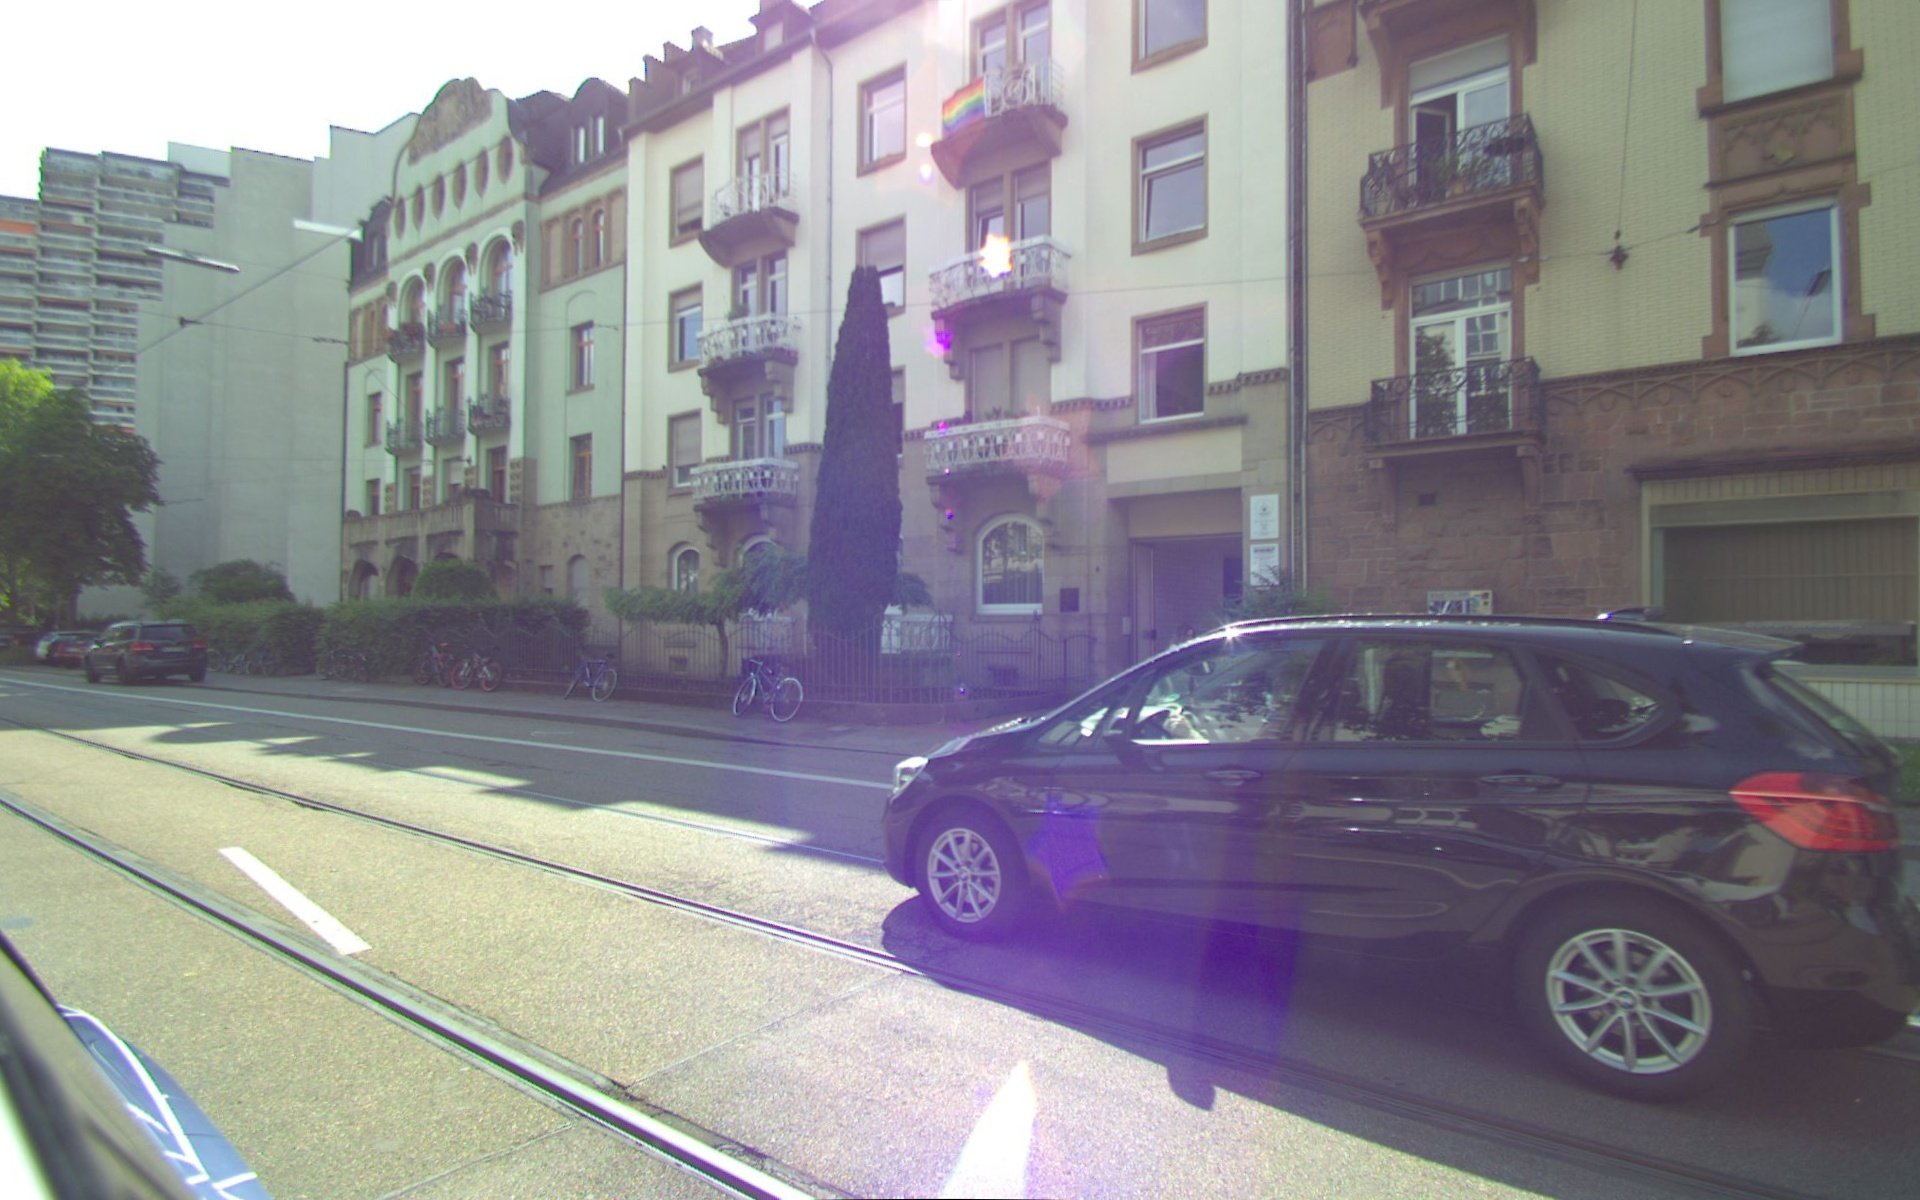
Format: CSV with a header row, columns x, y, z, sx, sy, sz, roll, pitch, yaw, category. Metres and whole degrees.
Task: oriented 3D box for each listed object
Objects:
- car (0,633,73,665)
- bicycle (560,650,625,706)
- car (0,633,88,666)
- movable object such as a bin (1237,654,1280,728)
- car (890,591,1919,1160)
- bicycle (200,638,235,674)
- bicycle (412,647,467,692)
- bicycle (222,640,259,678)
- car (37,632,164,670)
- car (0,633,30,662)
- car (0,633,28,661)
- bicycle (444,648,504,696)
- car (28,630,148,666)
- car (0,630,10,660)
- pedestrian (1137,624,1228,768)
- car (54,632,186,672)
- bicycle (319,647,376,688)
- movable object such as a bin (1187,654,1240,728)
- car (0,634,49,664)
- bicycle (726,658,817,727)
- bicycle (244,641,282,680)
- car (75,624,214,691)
x,y,z,sx,sy,sz,roll,pitch,yaw,category
-46.441,2.394,49.970,3.938,1.519,2.002,2,-3,-42,car
-7.138,1.488,19.614,0.461,1.003,1.788,2,-3,-45,bicycle
-43.985,2.317,47.993,3.938,1.519,2.002,2,-3,-42,car
4.293,1.295,14.557,0.531,1.037,0.475,0,-2,11,movable object such as a bin
1.782,0.797,4.458,4.062,1.530,1.739,-1,-3,37,car
-24.163,1.820,32.931,1.785,1.144,0.462,-2,-3,40,bicycle
-12.142,1.598,23.572,1.785,1.003,0.462,-2,-3,40,bicycle
-22.508,1.823,31.642,1.785,1.144,0.462,-2,-3,40,bicycle
-36.064,2.126,42.519,3.938,1.519,2.002,2,-3,-42,car
-51.817,2.513,53.399,3.938,1.519,2.002,2,-3,-42,car
-54.007,2.588,55.701,3.938,1.519,2.002,2,-3,-42,car
-10.725,1.562,22.309,1.785,1.003,0.462,-2,-3,40,bicycle
-38.672,2.121,44.931,3.938,1.519,2.002,2,-3,-42,car
-56.908,2.567,57.647,3.938,1.695,2.002,2,-3,-42,car
2.527,1.060,11.496,0.764,1.553,0.749,-2,-3,39,pedestrian
-33.380,2.043,40.266,3.938,1.519,2.002,2,-3,-42,car
-15.616,1.700,25.782,1.979,1.003,0.597,-2,-3,40,bicycle
3.646,1.298,14.567,0.697,1.037,0.475,0,-2,11,movable object such as a bin
-49.124,2.484,51.619,3.938,1.519,2.002,2,-3,-42,car
-3.064,1.455,16.314,0.461,1.003,1.980,2,-3,-43,bicycle
-20.982,1.805,30.441,1.785,1.144,0.462,-2,-3,40,bicycle
-22.717,1.546,28.163,4.392,1.708,1.899,-1,-2,36,car
